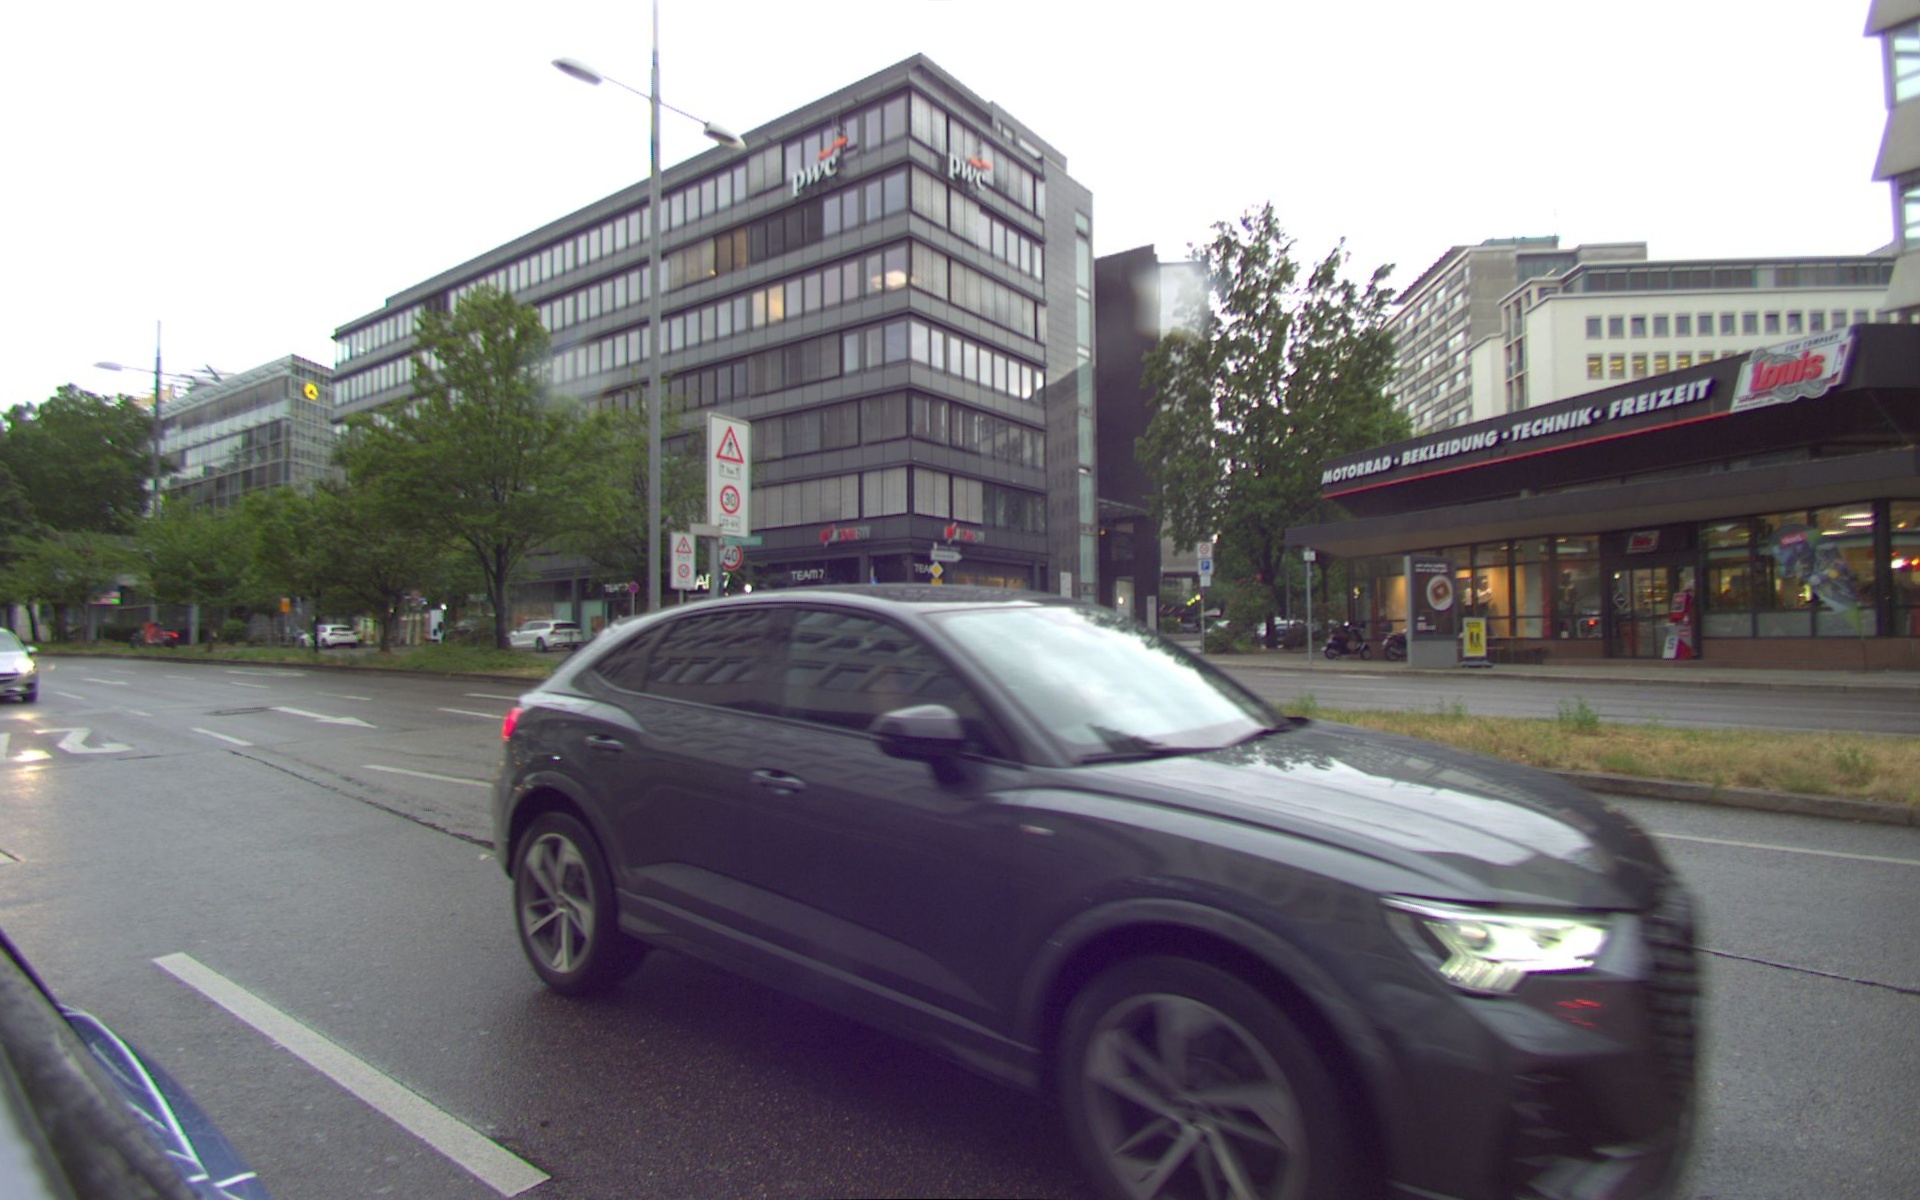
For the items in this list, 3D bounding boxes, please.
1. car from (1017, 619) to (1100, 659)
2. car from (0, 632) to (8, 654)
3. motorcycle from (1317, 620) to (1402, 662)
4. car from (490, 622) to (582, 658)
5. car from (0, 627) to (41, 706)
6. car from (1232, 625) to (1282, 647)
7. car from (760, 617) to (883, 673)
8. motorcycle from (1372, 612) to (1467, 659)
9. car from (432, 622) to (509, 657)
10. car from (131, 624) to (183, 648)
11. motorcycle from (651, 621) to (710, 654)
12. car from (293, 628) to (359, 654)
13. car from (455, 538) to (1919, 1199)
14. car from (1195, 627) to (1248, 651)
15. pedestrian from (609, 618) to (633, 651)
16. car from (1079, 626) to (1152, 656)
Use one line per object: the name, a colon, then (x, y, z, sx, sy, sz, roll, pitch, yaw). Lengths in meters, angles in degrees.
car: (4.495, 1.721, 45.633, 1.996, 1.652, 3.951, -1, -1, 36)
car: (-79.119, 3.493, 82.197, 4.483, 1.741, 1.722, -2, -3, 35)
motorcycle: (13.562, 1.392, 34.363, 2.773, 1.343, 0.725, -1, -1, -15)
car: (-20.008, 1.873, 47.649, 4.764, 1.496, 1.792, -2, 2, 37)
car: (-19.603, 1.294, 19.809, 3.866, 1.454, 1.830, -2, -1, 39)
car: (19.390, 2.334, 65.945, 1.844, 1.298, 3.950, -1, -1, 37)
car: (-4.247, 1.339, 30.765, 3.690, 1.585, 1.765, -2, -2, 42)
motorcycle: (14.279, 1.092, 31.435, 2.843, 1.384, 0.806, -1, -1, -16)
car: (-24.876, 1.985, 51.382, 4.304, 1.673, 1.791, -2, -1, 38)
car: (-54.384, 2.455, 68.522, 4.480, 1.556, 1.973, -2, -2, 41)
motorcycle: (-12.410, 1.656, 44.986, 2.344, 1.404, 0.857, -1, 2, 10)
car: (-38.259, 2.489, 61.040, 4.298, 1.455, 1.794, -2, -1, 34)
car: (0.274, 0.699, 3.424, 4.281, 1.446, 1.918, -2, -2, 38)
car: (15.935, 2.348, 61.532, 1.843, 1.298, 3.951, -1, -1, 36)
pedestrian: (-17.454, 1.781, 52.132, 0.964, 1.650, 0.776, -2, -2, 36)
car: (7.608, 1.950, 49.250, 1.844, 1.298, 3.950, -1, -1, 37)
